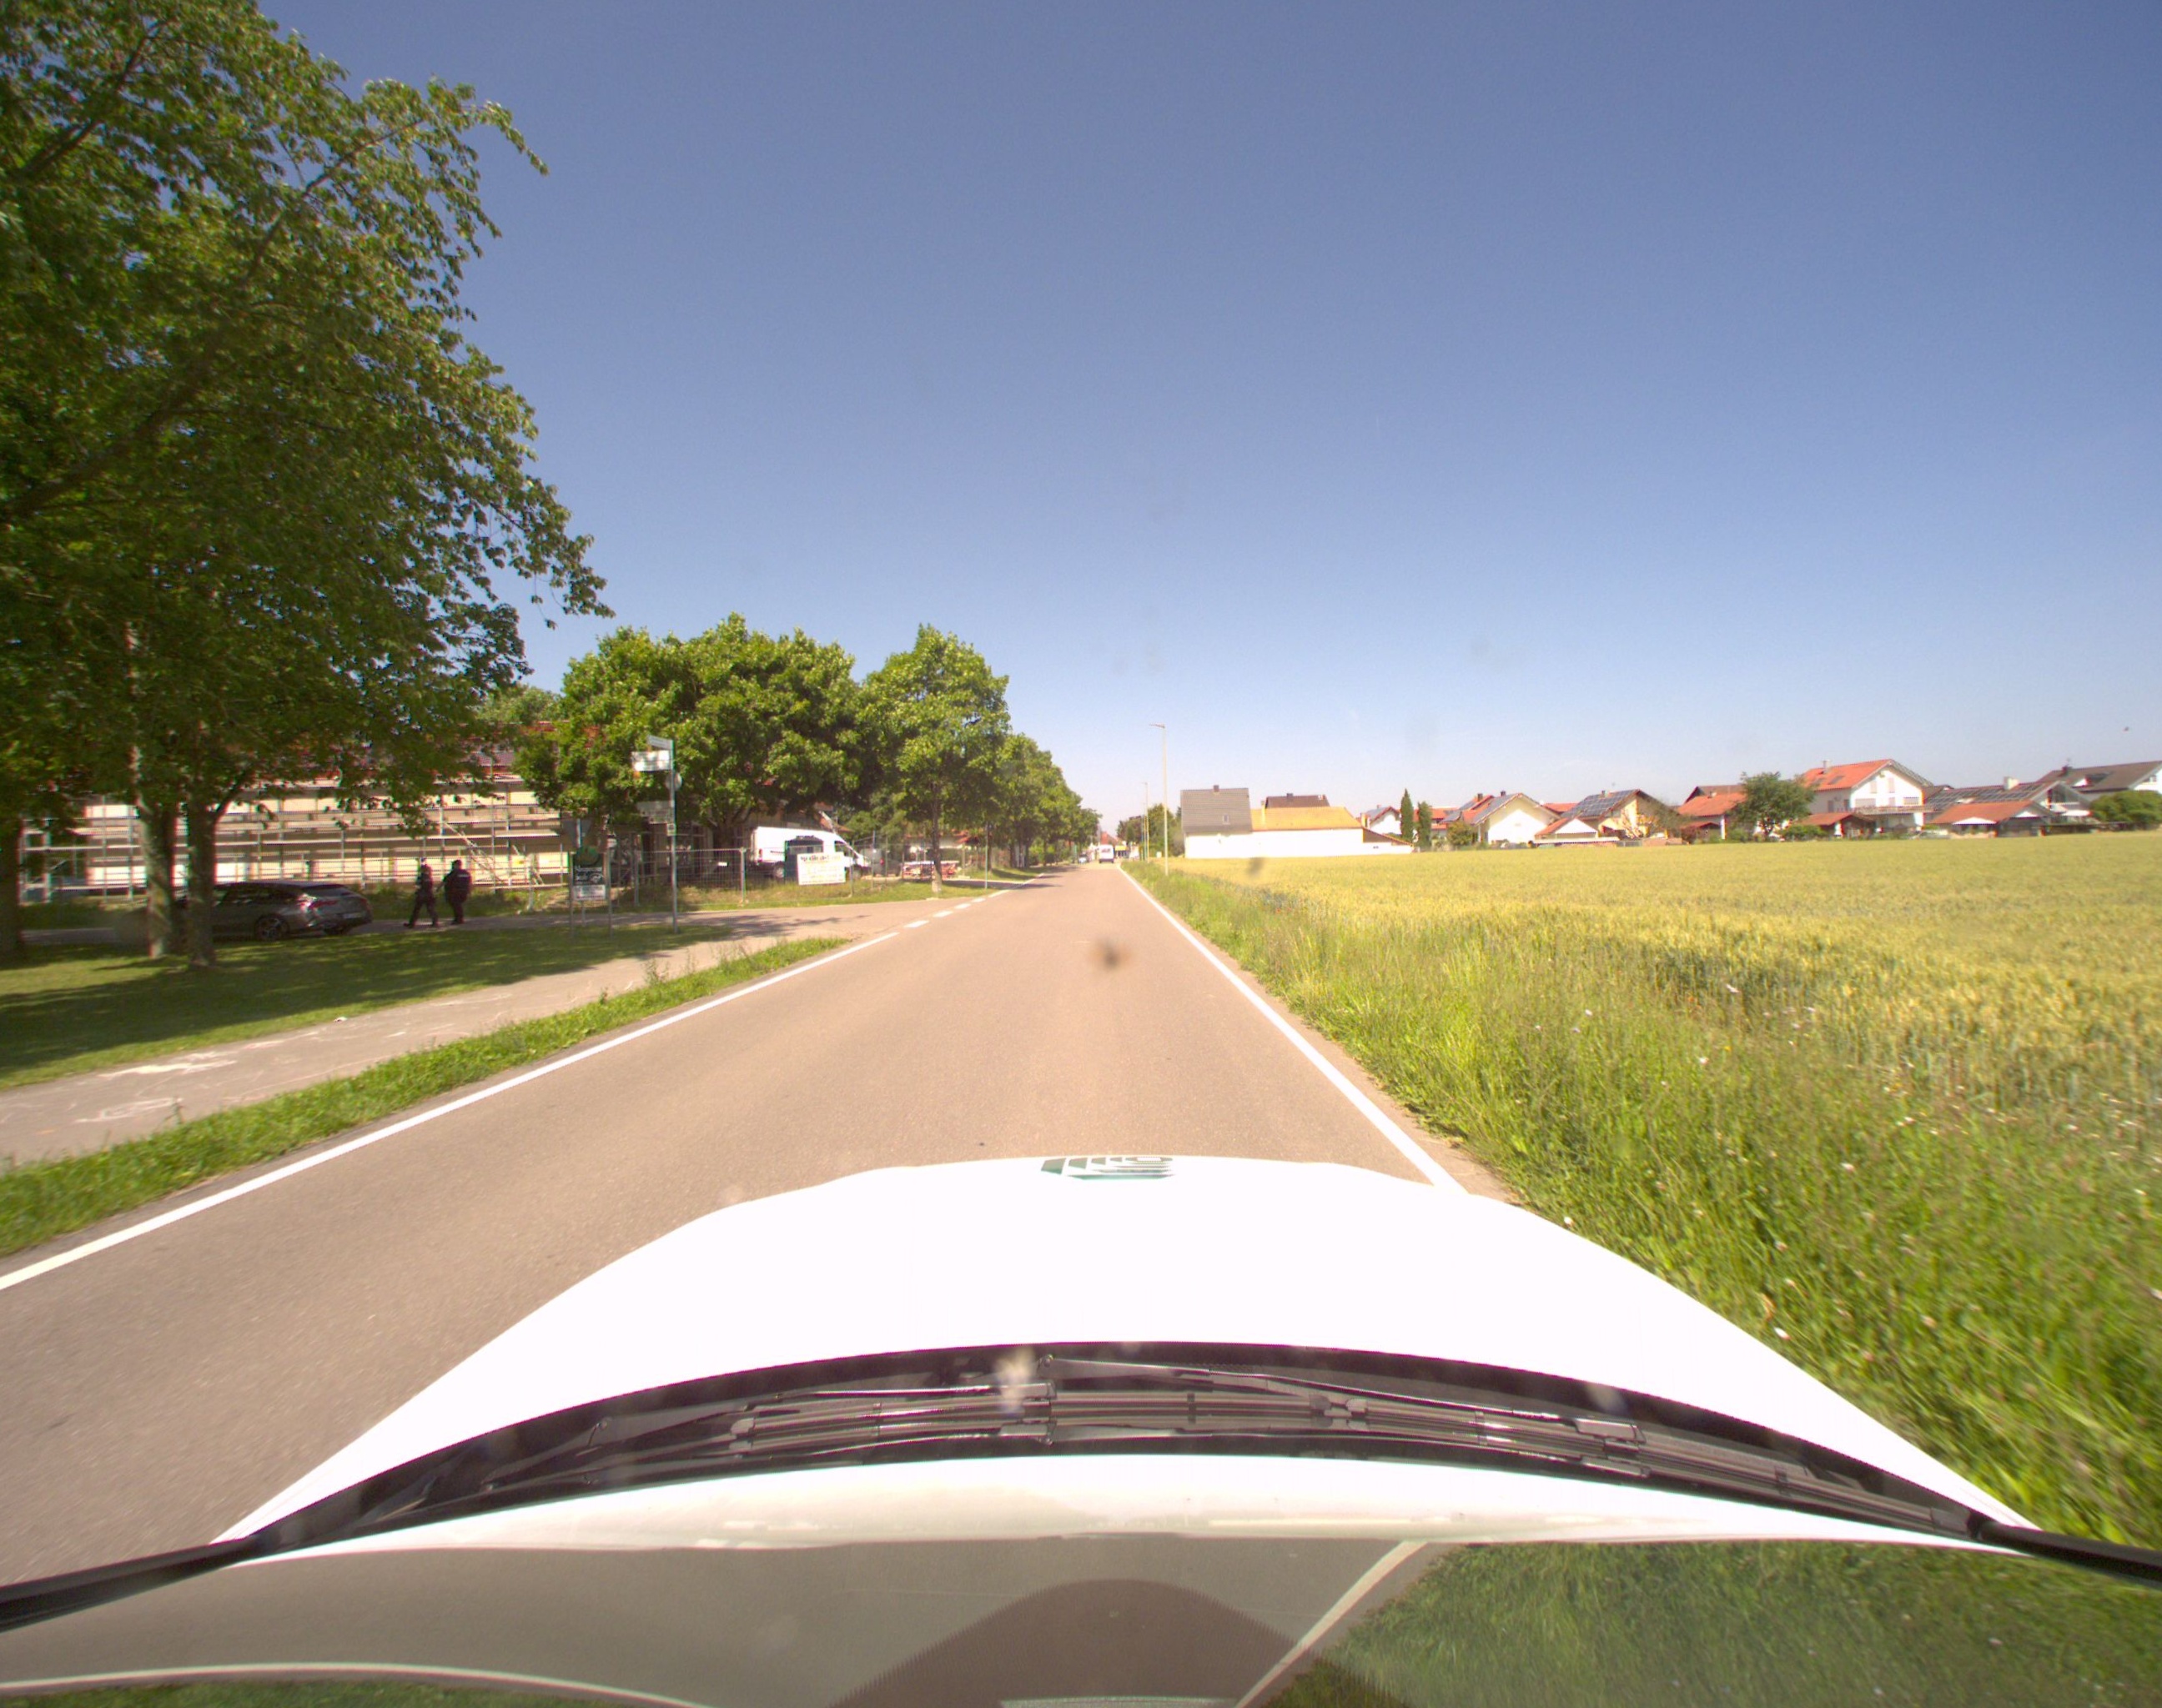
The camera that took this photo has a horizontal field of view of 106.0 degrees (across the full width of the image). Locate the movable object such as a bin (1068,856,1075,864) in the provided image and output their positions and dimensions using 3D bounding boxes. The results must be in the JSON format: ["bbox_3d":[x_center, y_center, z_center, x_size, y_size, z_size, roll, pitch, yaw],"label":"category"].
[{"bbox_3d":[-1.388,0.909,120.220,0.706,1.079,0.643,-2,-1,28],"label":"movable object such as a bin"}]

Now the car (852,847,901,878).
[{"bbox_3d":[-13.083,0.531,52.326,1.963,1.838,4.329,-1,0,1],"label":"car"}]

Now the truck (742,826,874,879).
[{"bbox_3d":[-13.611,-0.082,40.883,5.957,2.483,1.978,-1,-1,-36],"label":"truck"}]

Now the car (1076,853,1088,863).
[{"bbox_3d":[0.198,0.626,125.685,1.641,1.423,4.082,-4,0,2],"label":"car"}]

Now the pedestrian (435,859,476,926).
[{"bbox_3d":[-16.755,1.013,21.829,0.603,1.751,0.585,-2,0,-8],"label":"pedestrian"}]

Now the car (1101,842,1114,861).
[{"bbox_3d":[3.624,-0.313,112.111,1.731,2.432,4.376,-2,0,2],"label":"car"}]

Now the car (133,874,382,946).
[{"bbox_3d":[-19.223,1.268,19.177,3.795,1.399,1.755,-2,0,-6],"label":"car"}]

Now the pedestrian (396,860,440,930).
[{"bbox_3d":[-17.075,1.036,20.990,0.603,1.751,0.585,-2,0,-8],"label":"pedestrian"}]
